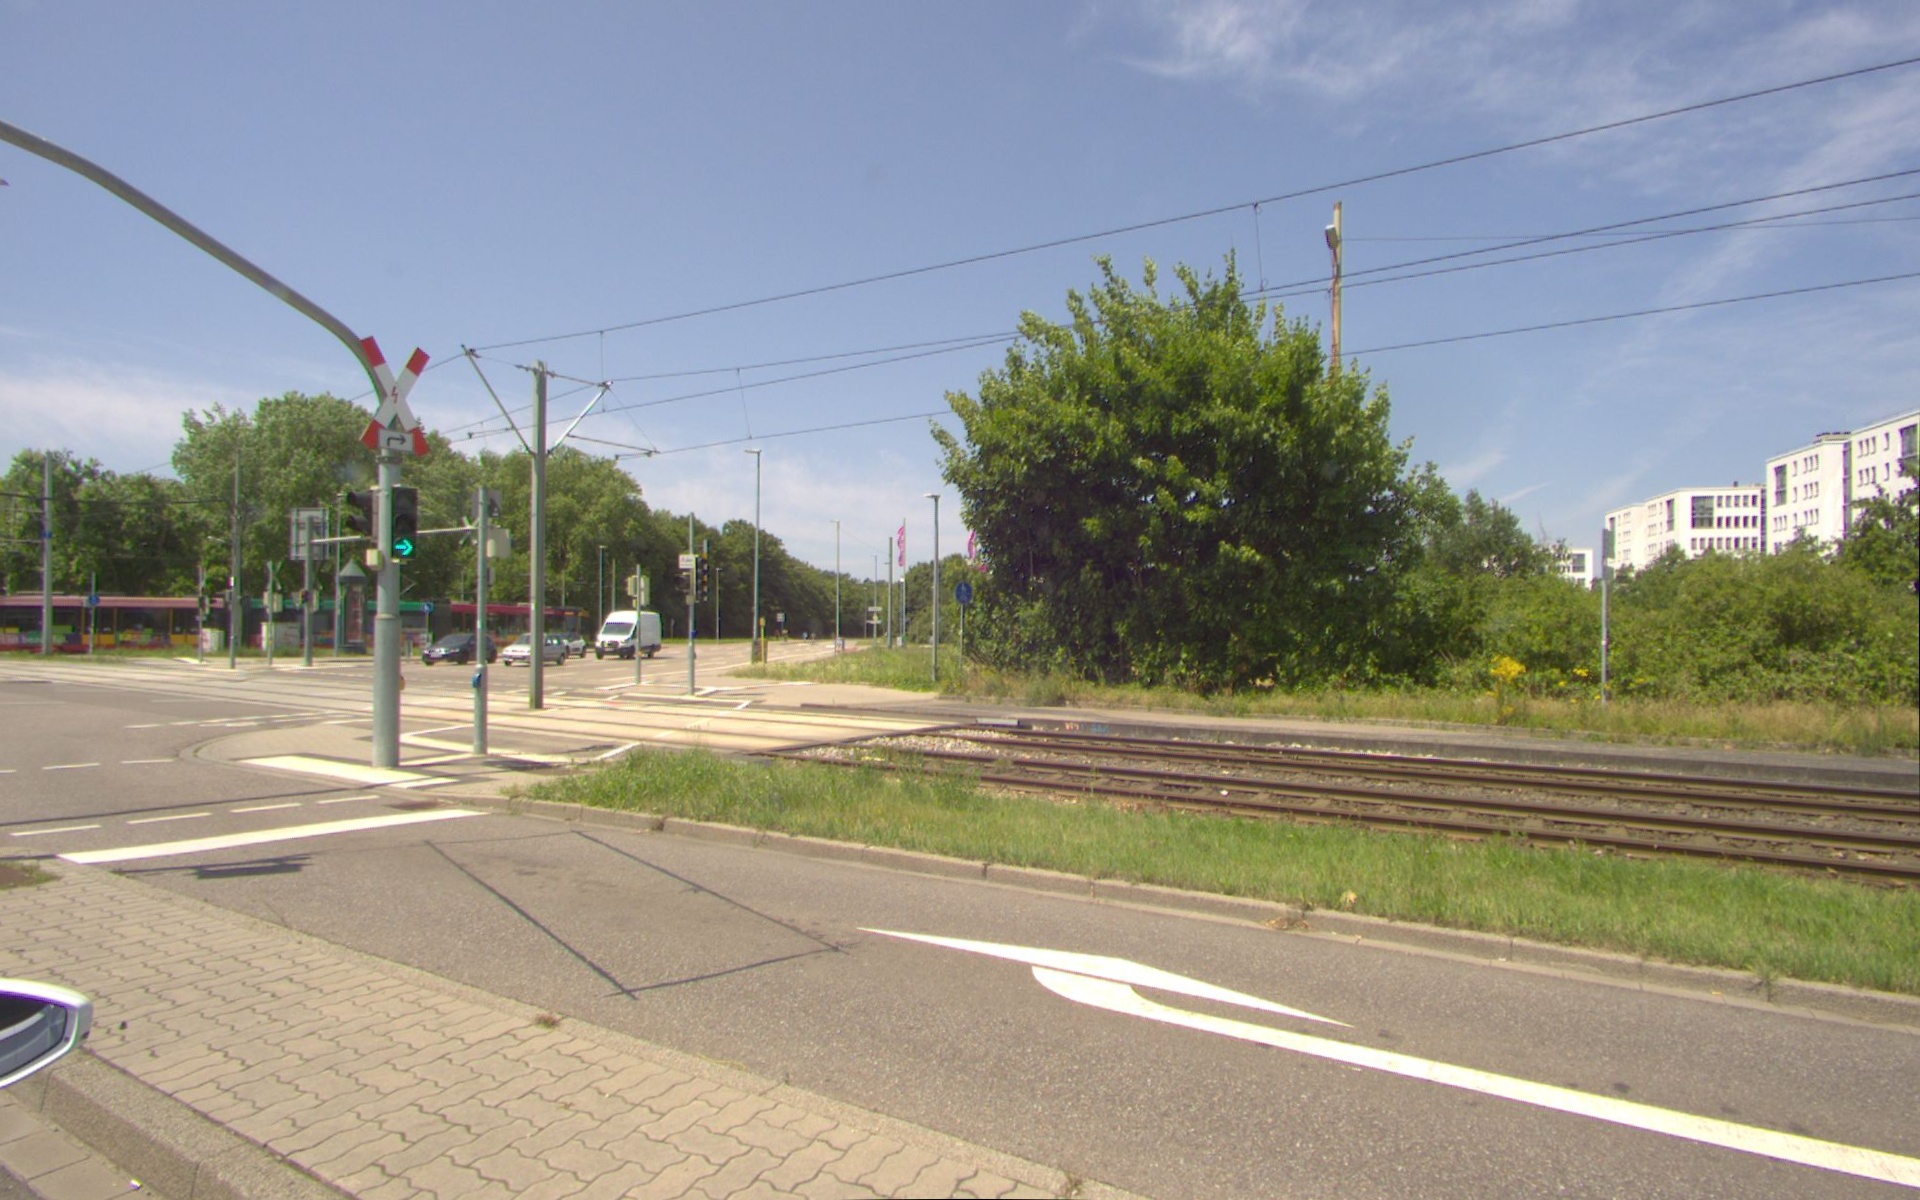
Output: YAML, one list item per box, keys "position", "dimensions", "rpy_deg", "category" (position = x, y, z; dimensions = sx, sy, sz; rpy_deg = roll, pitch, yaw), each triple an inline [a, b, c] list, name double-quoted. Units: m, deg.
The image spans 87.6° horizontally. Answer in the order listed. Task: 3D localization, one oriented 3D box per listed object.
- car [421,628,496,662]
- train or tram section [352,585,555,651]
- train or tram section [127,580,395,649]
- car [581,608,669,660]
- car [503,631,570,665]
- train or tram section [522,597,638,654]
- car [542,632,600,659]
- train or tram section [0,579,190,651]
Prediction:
- position: [-22.915, 2.031, 45.888]
  dimensions: [1.608, 1.481, 3.510]
  rpy_deg: [1, -2, 1]
  category: "car"
- position: [-35.334, 1.485, 71.039]
  dimensions: [2.878, 3.965, 14.006]
  rpy_deg: [-3, -4, 25]
  category: "train or tram section"
- position: [-42.600, 1.016, 61.863]
  dimensions: [13.278, 3.857, 2.908]
  rpy_deg: [1, -4, -33]
  category: "train or tram section"
- position: [-19.685, 1.989, 59.255]
  dimensions: [2.664, 2.838, 7.287]
  rpy_deg: [1, -2, 1]
  category: "car"
- position: [-19.467, 2.182, 46.221]
  dimensions: [1.608, 1.481, 3.807]
  rpy_deg: [1, -2, -3]
  category: "car"
- position: [-31.403, 2.325, 83.694]
  dimensions: [2.867, 3.965, 13.978]
  rpy_deg: [-2, -4, 7]
  category: "train or tram section"
- position: [-22.544, 2.611, 58.140]
  dimensions: [1.608, 1.481, 4.495]
  rpy_deg: [1, -2, 0]
  category: "car"
- position: [-52.381, 0.905, 57.241]
  dimensions: [12.851, 3.857, 2.920]
  rpy_deg: [0, -4, -20]
  category: "train or tram section"
